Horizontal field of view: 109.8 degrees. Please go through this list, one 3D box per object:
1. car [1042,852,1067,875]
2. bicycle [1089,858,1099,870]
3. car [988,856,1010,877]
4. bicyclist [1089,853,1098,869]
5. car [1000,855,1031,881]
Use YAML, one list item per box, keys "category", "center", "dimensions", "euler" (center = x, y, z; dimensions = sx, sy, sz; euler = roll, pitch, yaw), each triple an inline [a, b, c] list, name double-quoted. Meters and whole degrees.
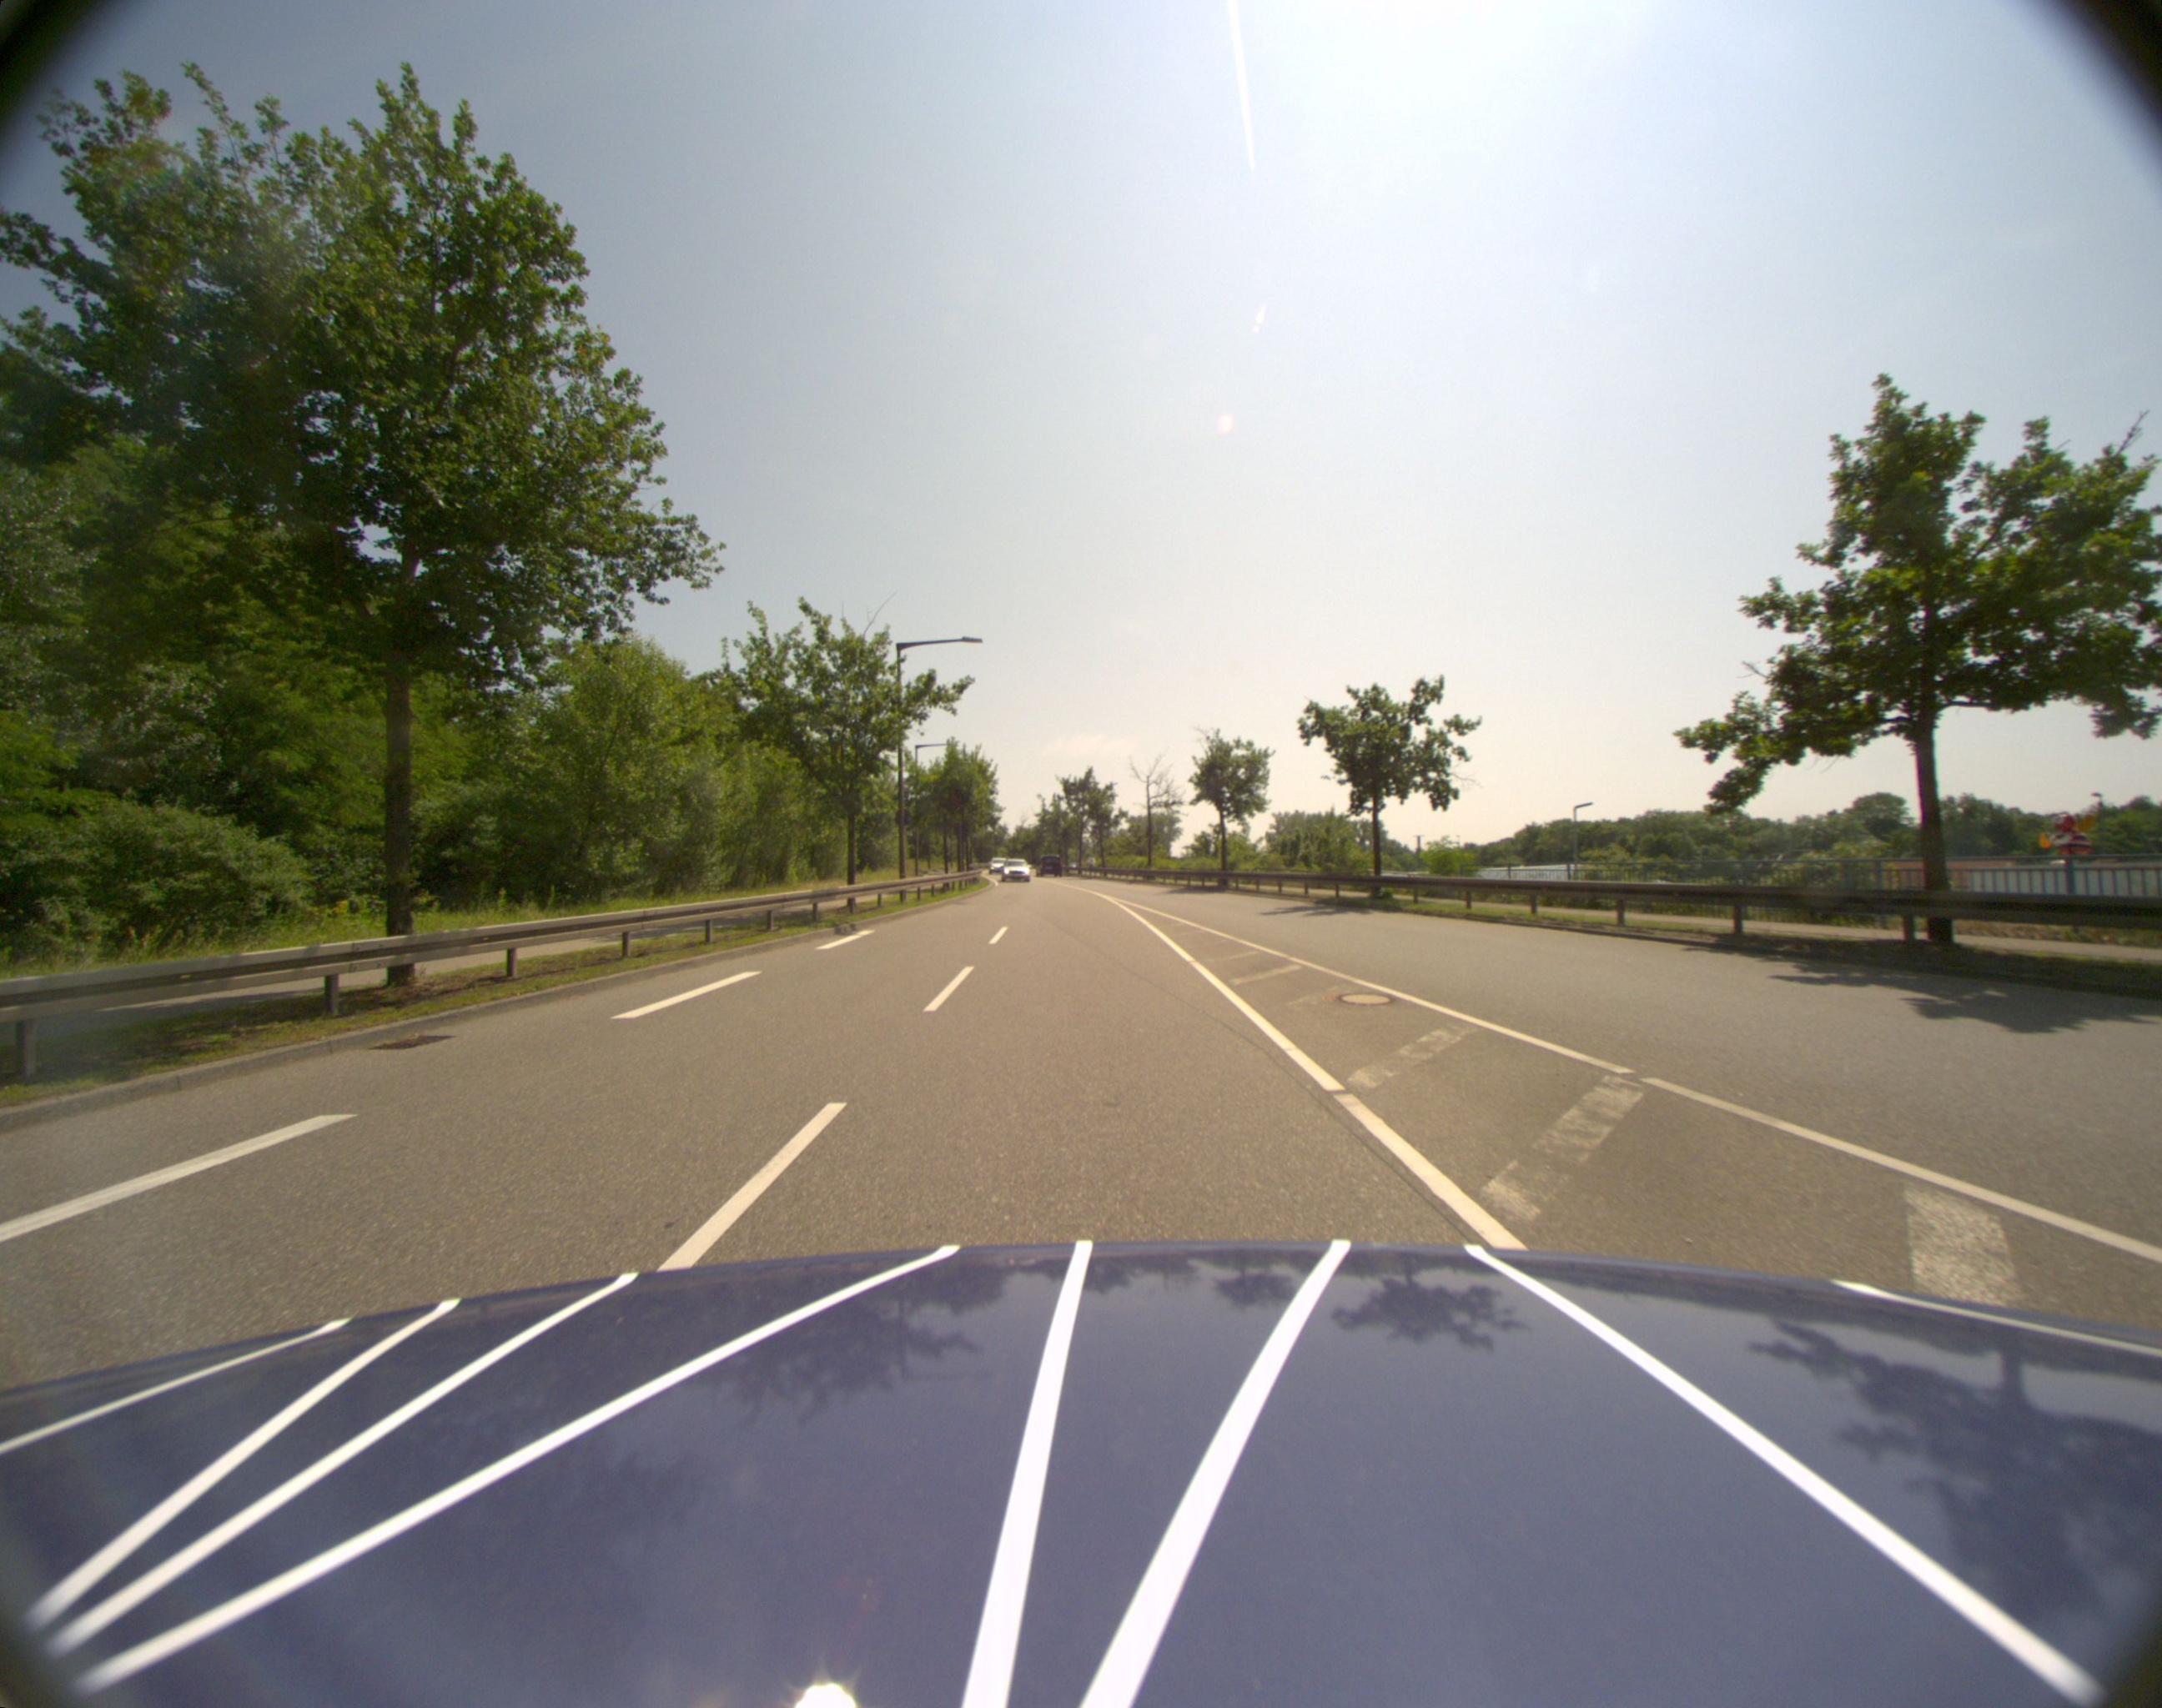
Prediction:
- category: "car"
  center: [-2.221, 0.784, 62.508]
  dimensions: [1.812, 1.749, 4.251]
  euler: [-2, 0, -4]
- category: "bicycle"
  center: [1.203, 0.976, 72.806]
  dimensions: [0.736, 1.110, 2.045]
  euler: [3, 0, -5]
- category: "car"
  center: [-7.326, 1.101, 68.254]
  dimensions: [1.799, 1.772, 4.291]
  euler: [1, 0, -5]
- category: "bicyclist"
  center: [1.223, 0.671, 72.796]
  dimensions: [0.731, 1.457, 0.823]
  euler: [3, 0, -4]
- category: "car"
  center: [-4.086, 0.856, 47.930]
  dimensions: [1.764, 1.490, 4.231]
  euler: [-1, 1, -3]
